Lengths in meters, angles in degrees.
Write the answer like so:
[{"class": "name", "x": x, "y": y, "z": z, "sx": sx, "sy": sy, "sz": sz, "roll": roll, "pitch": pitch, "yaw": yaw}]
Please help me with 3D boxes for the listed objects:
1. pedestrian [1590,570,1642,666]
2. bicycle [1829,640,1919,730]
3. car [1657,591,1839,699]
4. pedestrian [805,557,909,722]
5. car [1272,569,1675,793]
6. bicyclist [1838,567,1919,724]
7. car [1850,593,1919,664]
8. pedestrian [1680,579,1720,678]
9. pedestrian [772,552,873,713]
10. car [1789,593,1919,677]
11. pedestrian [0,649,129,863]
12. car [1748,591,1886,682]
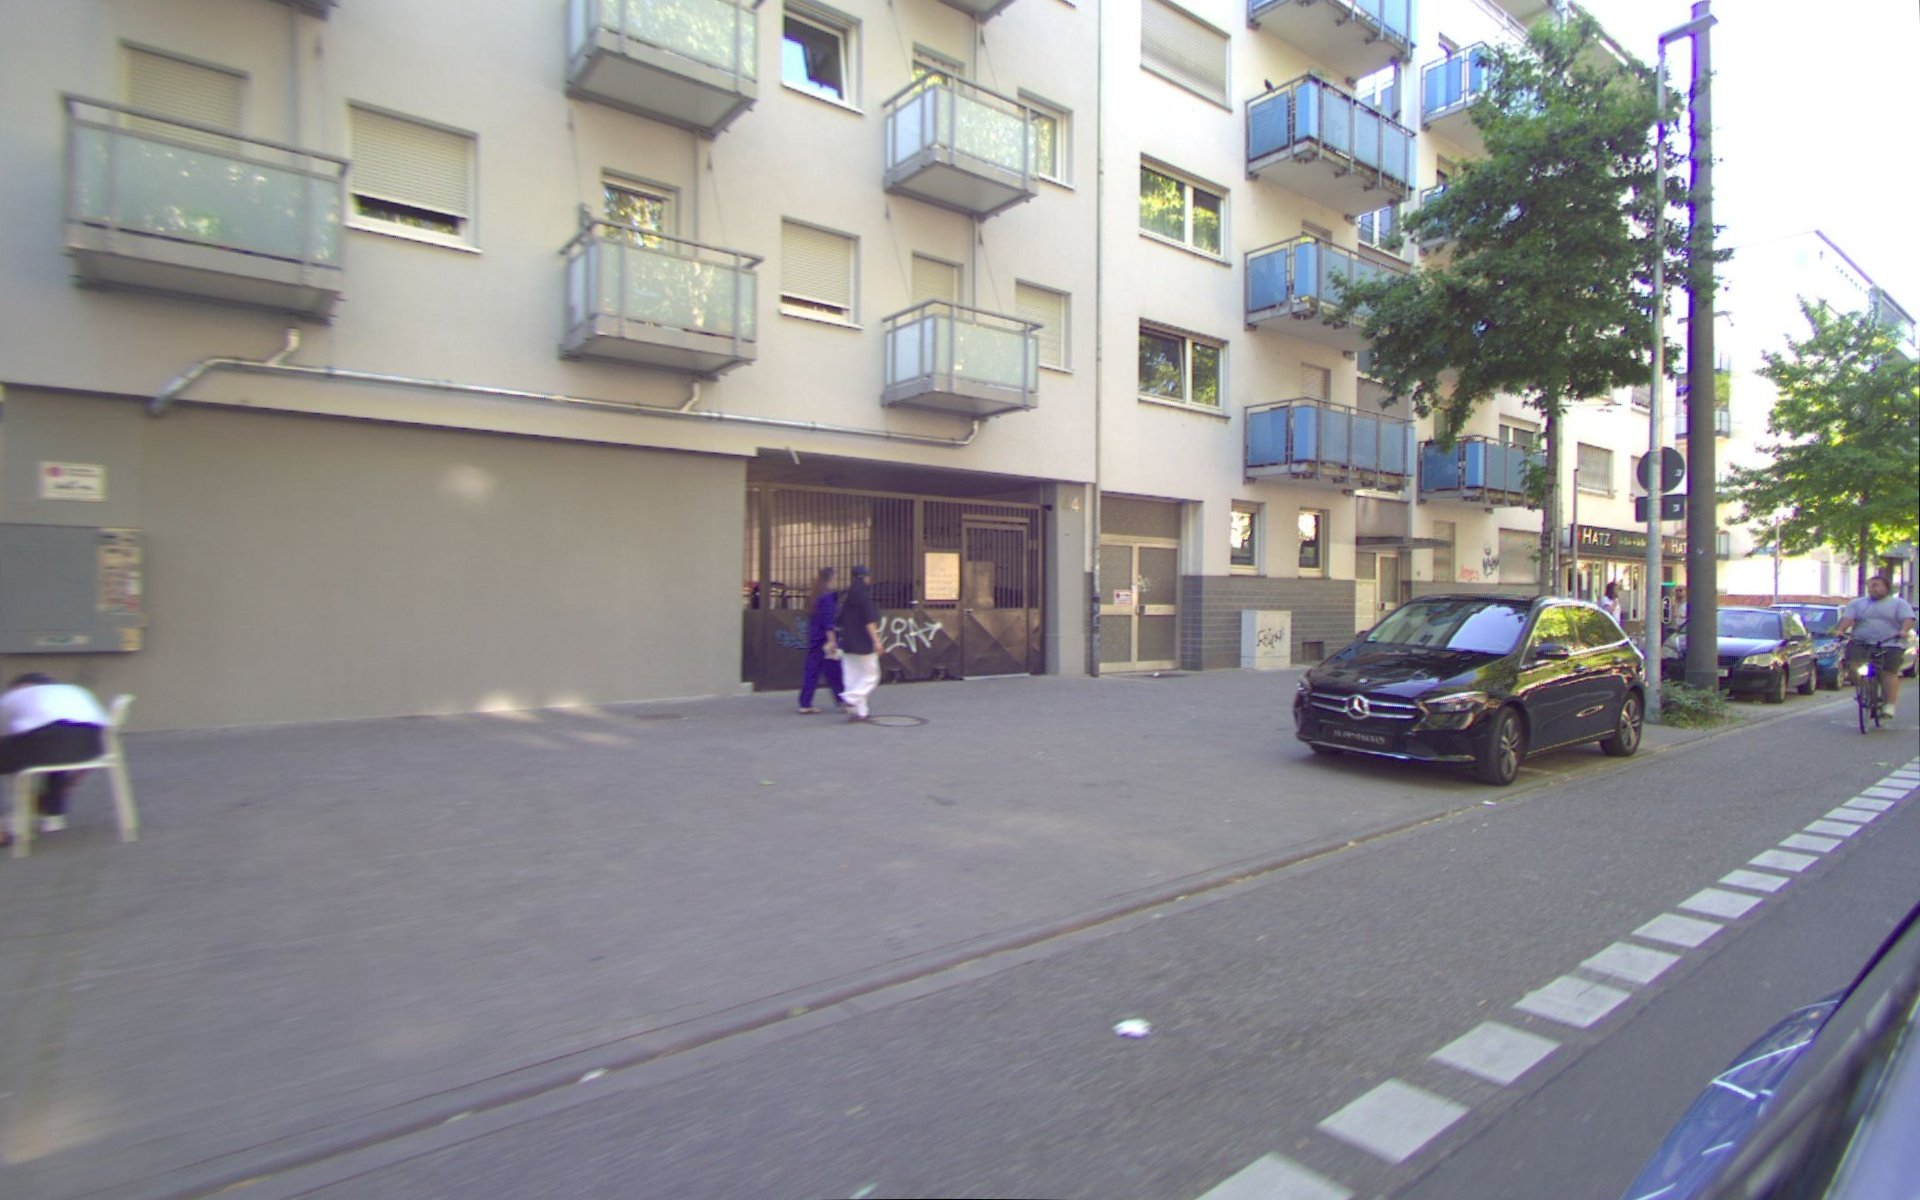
[{"class": "pedestrian", "x": 13.055, "y": 0.356, "z": 20.141, "sx": 0.650, "sy": 1.875, "sz": 0.540, "roll": 0, "pitch": -1, "yaw": -6}, {"class": "bicycle", "x": 11.459, "y": 1.008, "z": 12.458, "sx": 1.904, "sy": 0.949, "sz": 0.790, "roll": -1, "pitch": 0, "yaw": -38}, {"class": "car", "x": 12.982, "y": 0.648, "z": 16.602, "sx": 3.822, "sy": 1.500, "sz": 1.625, "roll": 0, "pitch": 2, "yaw": -41}, {"class": "pedestrian", "x": -1.087, "y": 0.391, "z": 10.715, "sx": 0.854, "sy": 1.658, "sz": 0.643, "roll": 0, "pitch": 2, "yaw": -40}, {"class": "car", "x": 4.986, "y": 0.572, "z": 9.589, "sx": 4.251, "sy": 1.607, "sz": 1.764, "roll": 0, "pitch": 4, "yaw": -39}, {"class": "bicyclist", "x": 11.509, "y": 0.533, "z": 12.515, "sx": 1.079, "sy": 1.854, "sz": 0.769, "roll": 0, "pitch": -1, "yaw": -38}, {"class": "car", "x": 23.731, "y": 0.661, "z": 25.283, "sx": 4.187, "sy": 1.590, "sz": 1.722, "roll": -1, "pitch": 3, "yaw": -42}, {"class": "pedestrian", "x": 14.269, "y": 0.542, "z": 19.516, "sx": 0.652, "sy": 1.875, "sz": 0.476, "roll": 0, "pitch": -1, "yaw": -41}, {"class": "pedestrian", "x": -1.525, "y": 0.333, "z": 11.235, "sx": 0.918, "sy": 1.698, "sz": 0.597, "roll": 0, "pitch": 2, "yaw": -41}, {"class": "car", "x": 19.327, "y": 0.670, "z": 21.520, "sx": 4.053, "sy": 1.556, "sz": 1.791, "roll": 0, "pitch": 2, "yaw": -39}, {"class": "pedestrian", "x": -5.122, "y": 0.814, "z": 5.589, "sx": 0.997, "sy": 1.040, "sz": 0.652, "roll": -1, "pitch": -1, "yaw": 40}, {"class": "car", "x": 16.222, "y": 0.636, "z": 19.126, "sx": 2.829, "sy": 1.556, "sz": 1.448, "roll": 0, "pitch": 2, "yaw": -39}]
